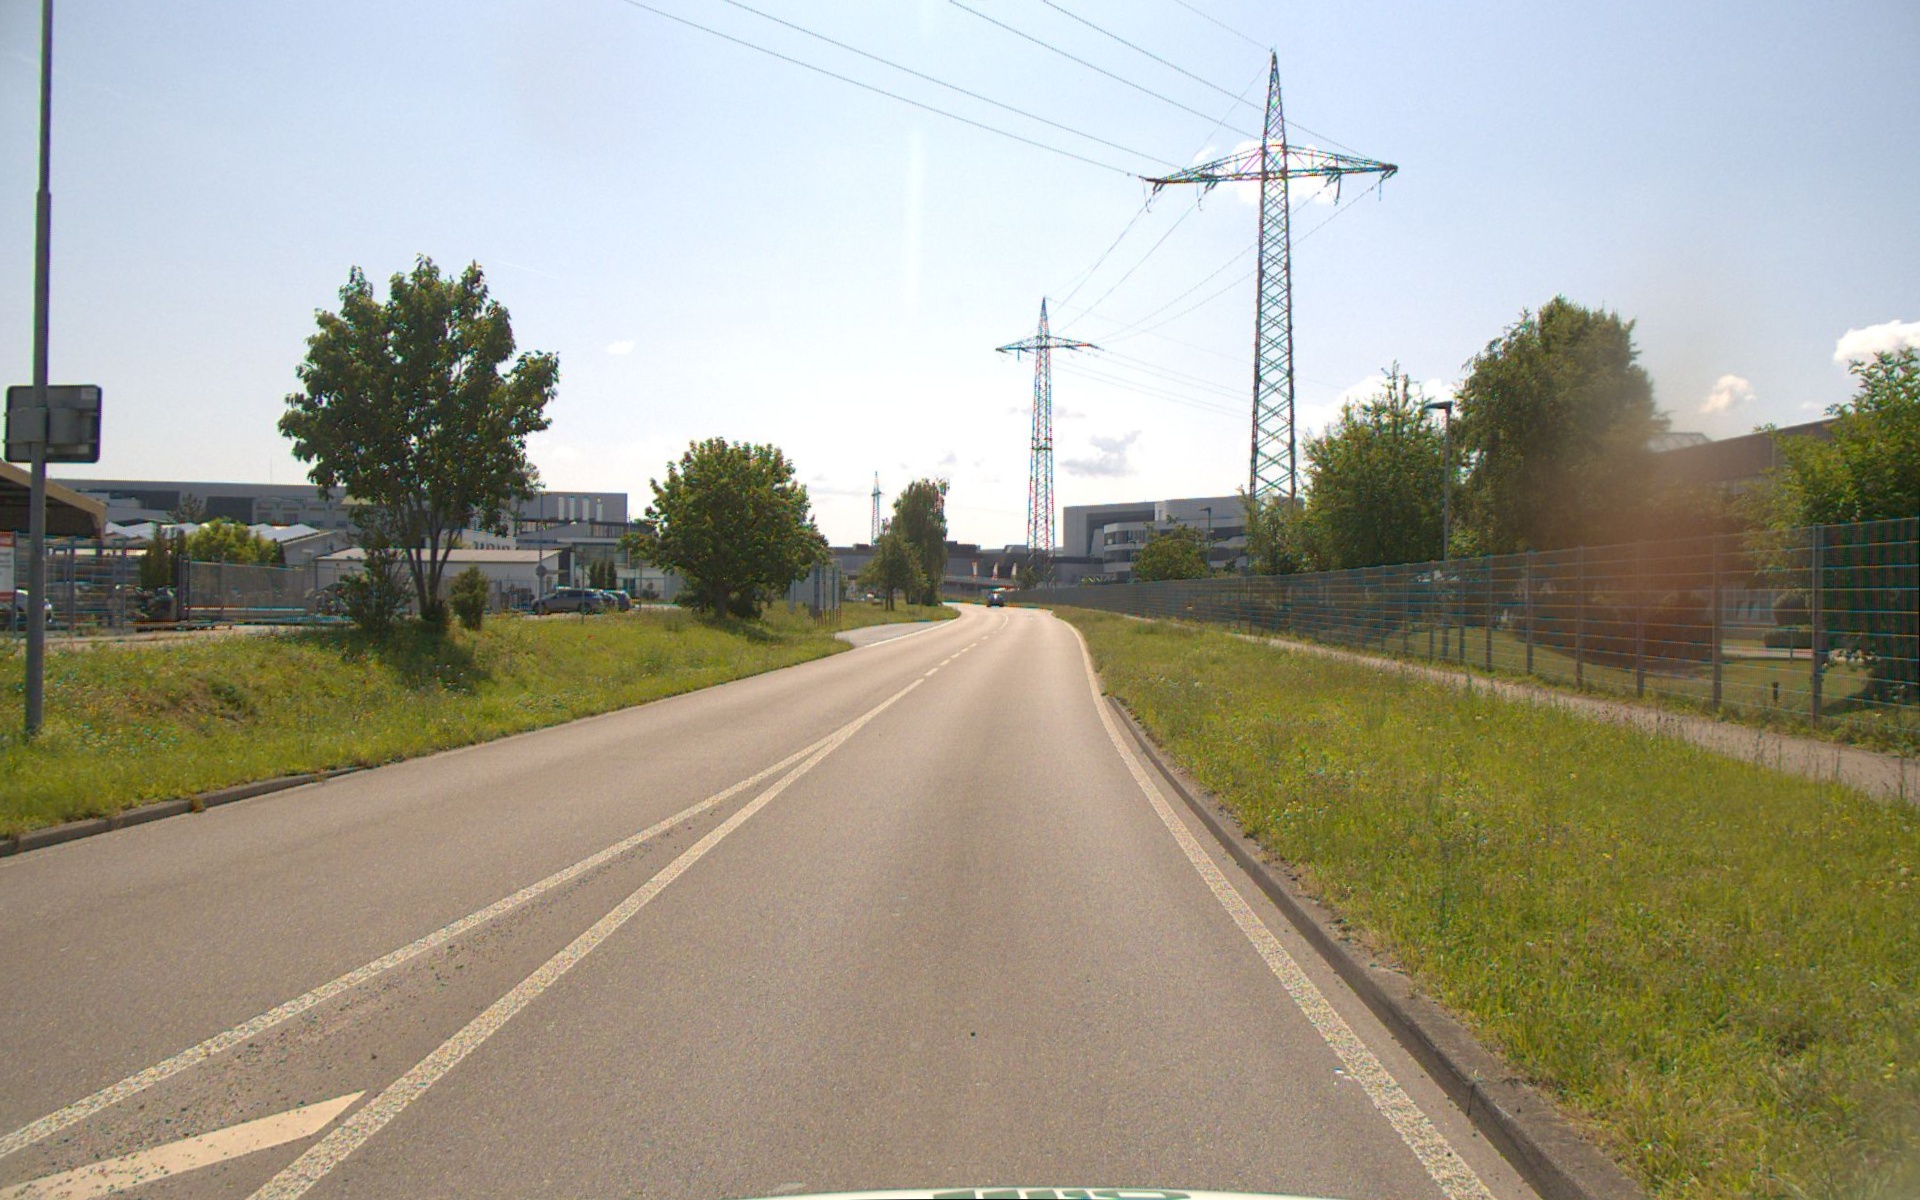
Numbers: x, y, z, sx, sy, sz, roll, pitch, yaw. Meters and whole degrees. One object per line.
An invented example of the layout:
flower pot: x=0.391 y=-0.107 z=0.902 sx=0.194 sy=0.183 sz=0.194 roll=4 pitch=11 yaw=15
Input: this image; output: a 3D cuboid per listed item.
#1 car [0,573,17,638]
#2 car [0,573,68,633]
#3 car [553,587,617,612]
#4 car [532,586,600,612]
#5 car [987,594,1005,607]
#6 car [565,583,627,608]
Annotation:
car: x=-21.781 y=0.085 z=34.209 sx=3.946 sy=1.333 sz=1.923 roll=1 pitch=0 yaw=-31
car: x=-22.420 y=0.058 z=37.355 sx=3.946 sy=1.333 sz=1.923 roll=1 pitch=0 yaw=-31
car: x=-24.843 y=-0.056 z=109.726 sx=3.907 sy=1.582 sz=1.665 roll=1 pitch=0 yaw=-3
car: x=-25.056 y=-0.058 z=105.325 sx=3.907 sy=1.554 sz=1.999 roll=1 pitch=0 yaw=-3
car: x=4.232 y=0.069 z=195.461 sx=1.971 sy=1.534 sz=4.000 roll=1 pitch=0 yaw=0
car: x=-25.554 y=-0.300 z=116.256 sx=3.907 sy=1.668 sz=1.999 roll=1 pitch=0 yaw=-3
